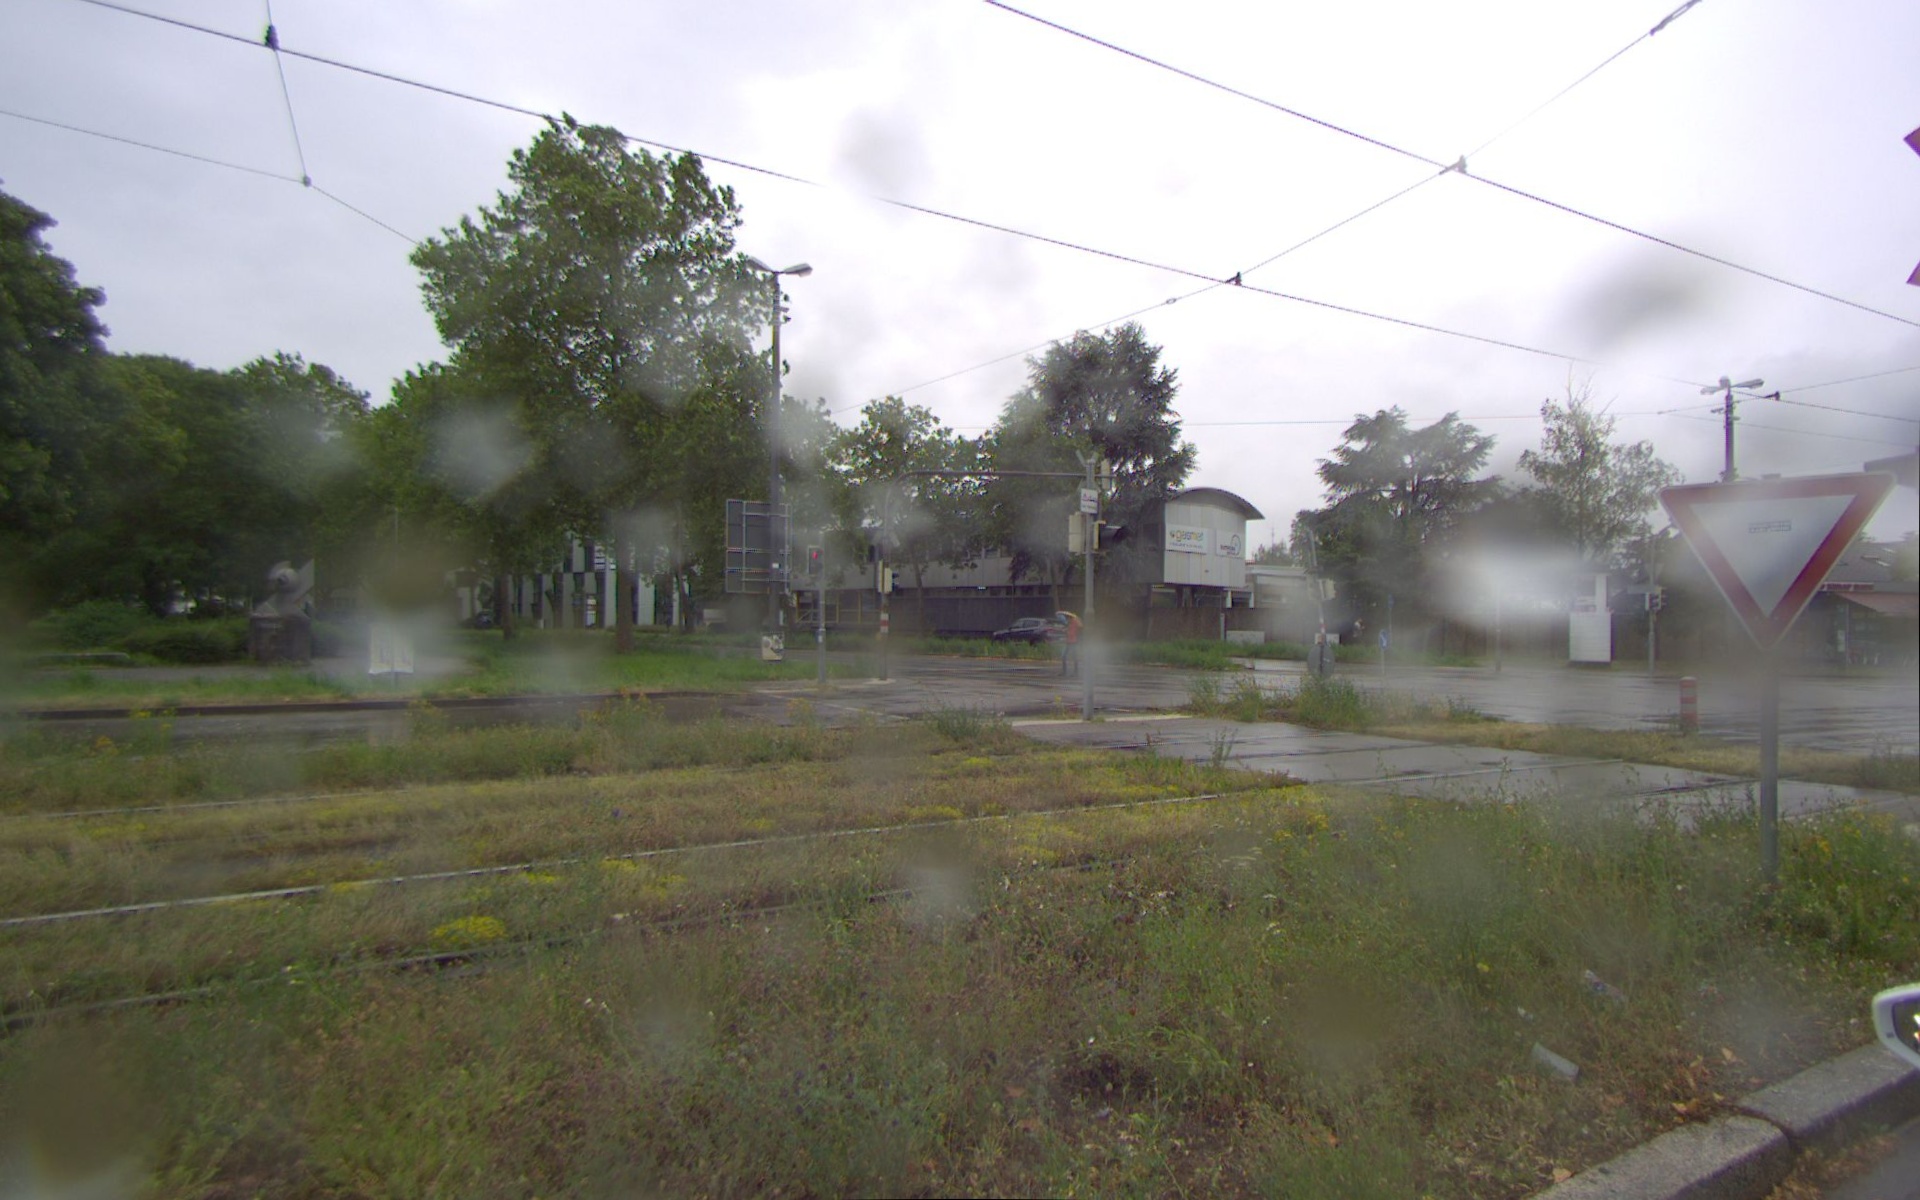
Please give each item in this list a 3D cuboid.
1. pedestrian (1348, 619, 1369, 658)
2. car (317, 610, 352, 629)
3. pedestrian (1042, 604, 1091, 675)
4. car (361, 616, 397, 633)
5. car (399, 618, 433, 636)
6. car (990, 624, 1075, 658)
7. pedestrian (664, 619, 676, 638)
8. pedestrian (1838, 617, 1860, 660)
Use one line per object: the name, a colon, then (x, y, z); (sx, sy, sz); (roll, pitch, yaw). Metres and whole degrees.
pedestrian: (18.956, 1.825, 47.769); (0.870, 1.821, 0.726); (2, 1, 26)
car: (-75.271, 2.372, 120.873); (3.932, 2.116, 2.123); (2, 0, 33)
pedestrian: (3.112, 1.139, 29.275); (0.998, 2.017, 0.945); (2, 0, -34)
car: (-65.880, 2.768, 113.872); (3.934, 1.806, 1.993); (2, 0, 36)
car: (-59.761, 2.995, 110.249); (3.940, 1.806, 1.990); (2, 0, 41)
car: (3.374, 1.896, 47.383); (1.679, 1.417, 4.087); (2, 0, -39)
pedestrian: (-25.954, 2.553, 89.889); (0.668, 1.690, 0.814); (2, 0, -43)
pedestrian: (43.125, 1.878, 48.732); (0.714, 2.040, 0.791); (2, 0, 38)
